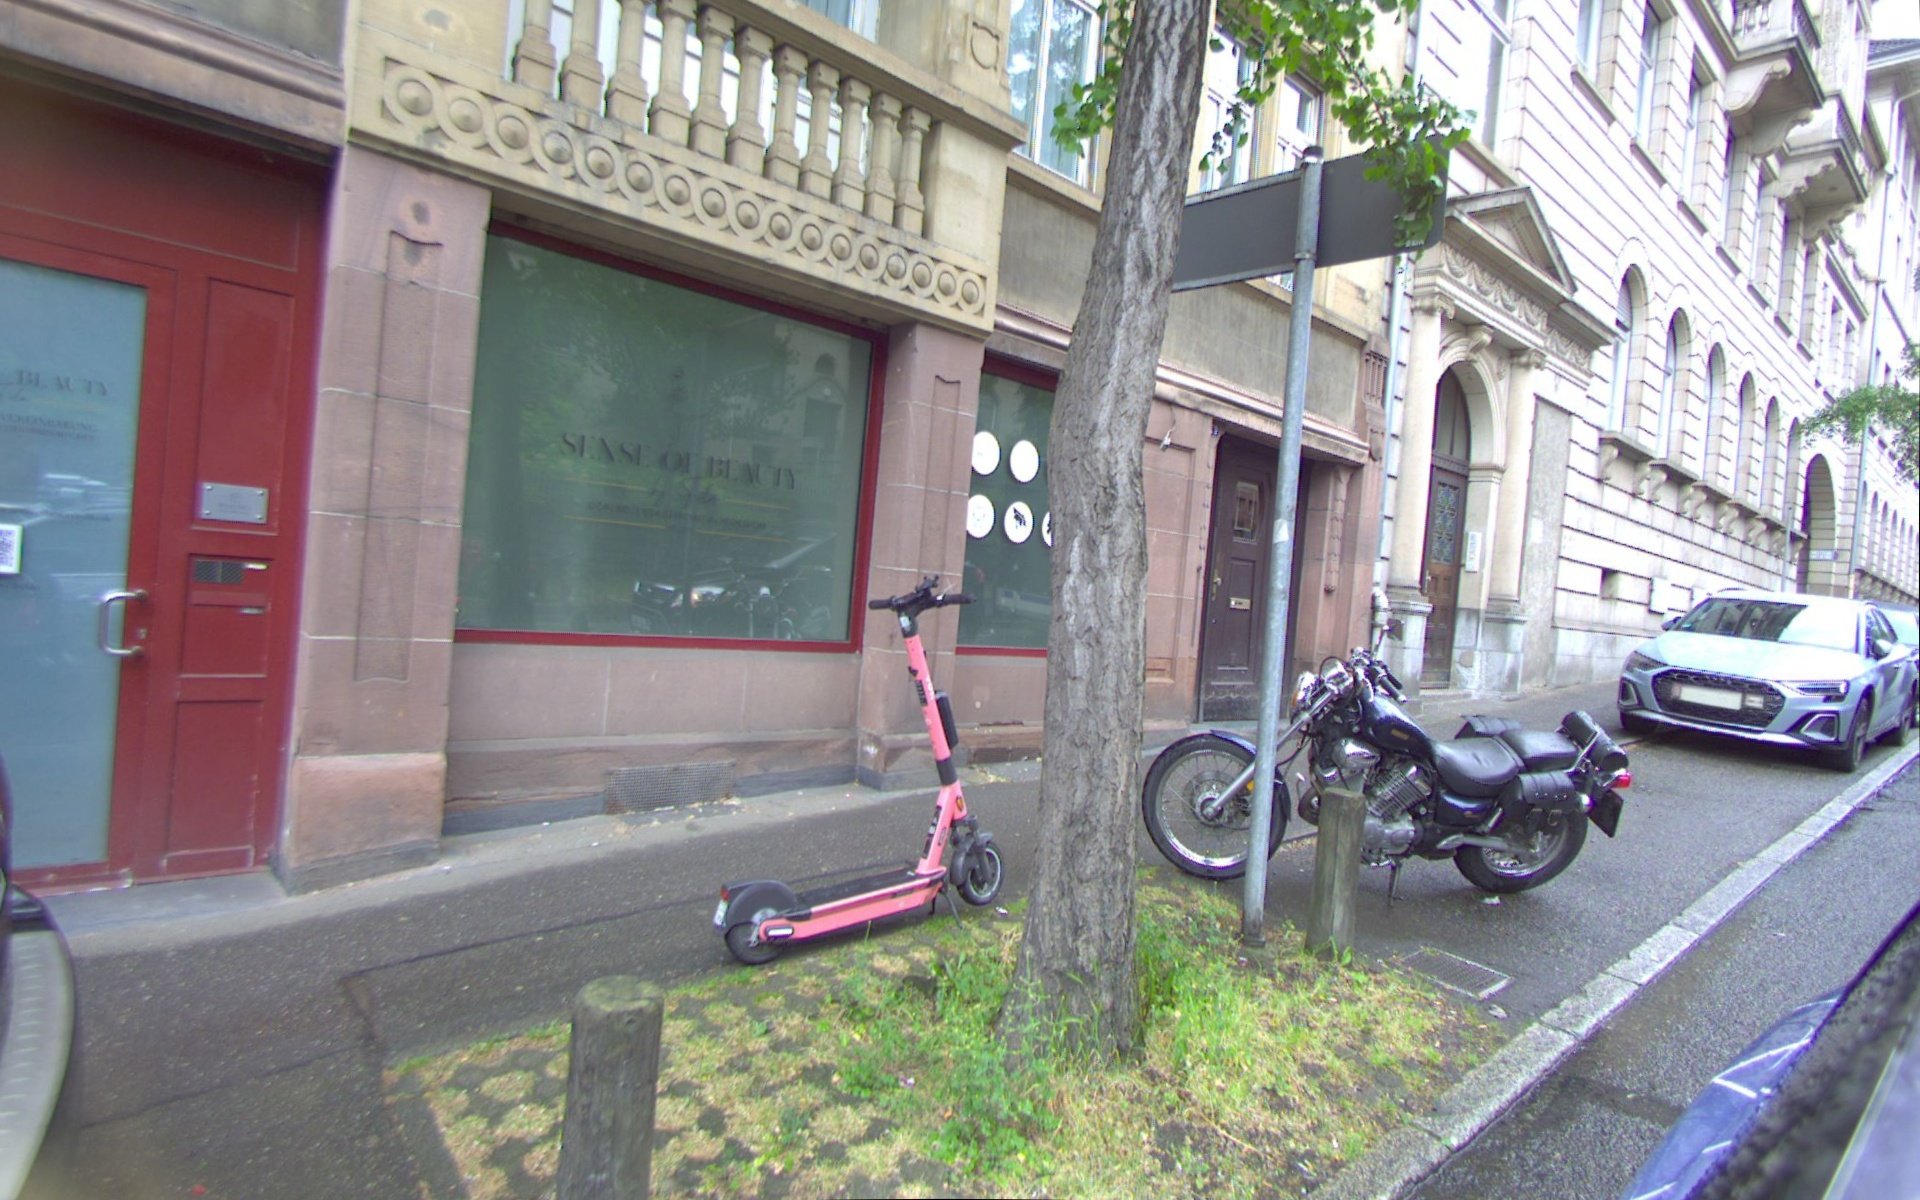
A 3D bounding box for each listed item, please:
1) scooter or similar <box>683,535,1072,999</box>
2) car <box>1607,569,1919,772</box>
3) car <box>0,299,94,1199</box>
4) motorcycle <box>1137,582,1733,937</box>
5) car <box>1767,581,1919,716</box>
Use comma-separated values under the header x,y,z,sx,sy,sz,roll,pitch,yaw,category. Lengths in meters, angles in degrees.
x,y,z,sx,sy,sz,roll,pitch,yaw,category
-0.261,0.474,3.528,1.182,1.334,0.594,1,3,-41,scooter or similar
8.116,0.546,9.917,3.967,1.469,1.795,0,5,-40,car
-2.937,0.457,0.295,4.025,1.670,1.765,0,7,-40,car
1.990,0.660,4.400,2.232,1.258,0.525,5,3,-2,motorcycle
12.084,0.575,13.400,3.124,1.466,1.496,1,5,-40,car
